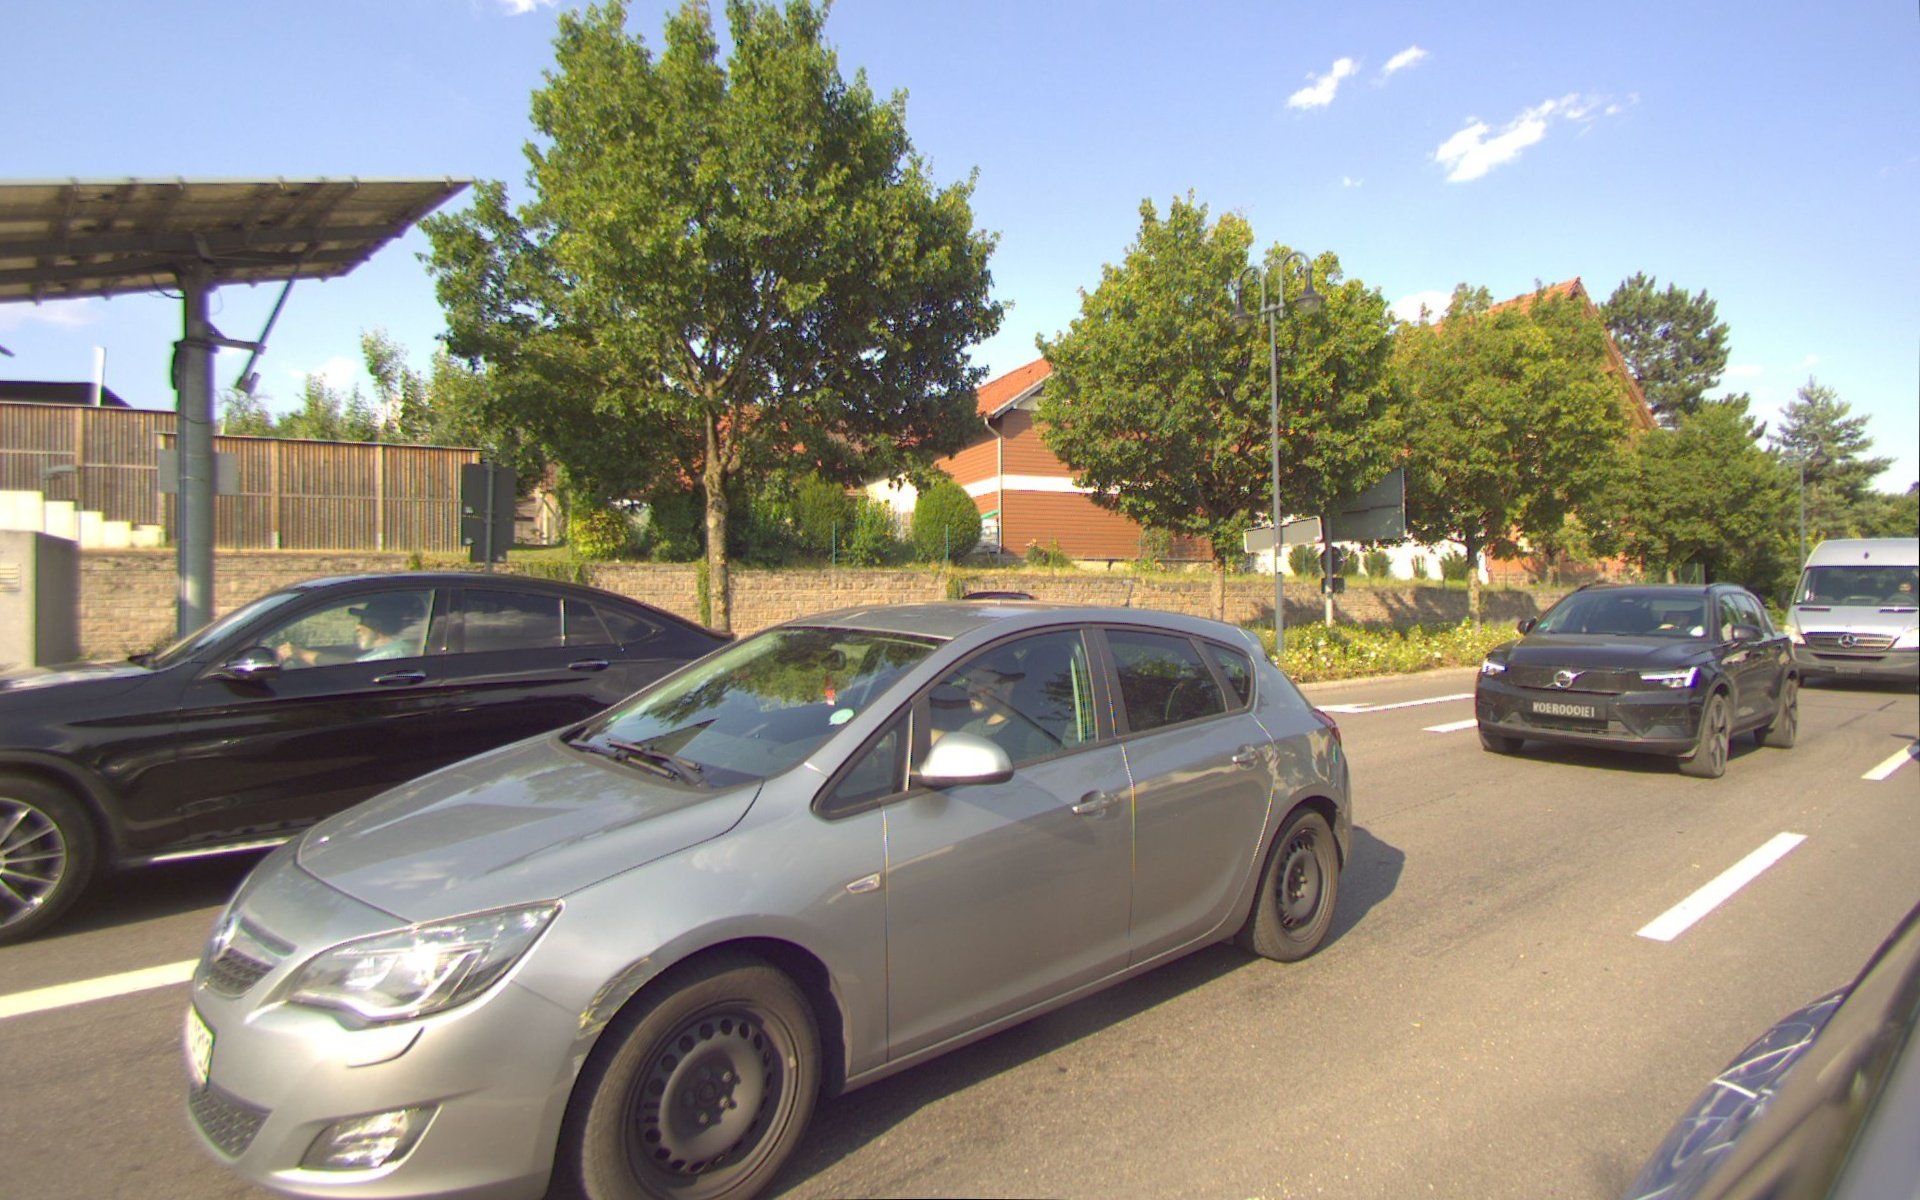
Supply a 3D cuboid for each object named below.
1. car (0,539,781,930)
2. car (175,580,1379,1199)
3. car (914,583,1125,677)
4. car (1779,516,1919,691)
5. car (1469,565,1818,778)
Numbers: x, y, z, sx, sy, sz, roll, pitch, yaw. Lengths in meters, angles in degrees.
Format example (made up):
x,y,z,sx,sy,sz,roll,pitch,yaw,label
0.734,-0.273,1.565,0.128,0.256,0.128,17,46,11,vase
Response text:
x,y,z,sx,sy,sz,roll,pitch,yaw,label
-3.409,0.544,5.732,4.416,1.586,1.843,0,0,-40,car
-0.228,0.678,3.692,4.072,1.440,1.650,0,1,-42,car
0.919,0.458,17.792,1.714,1.449,4.002,0,0,-32,car
16.839,0.029,18.278,6.532,2.691,2.038,0,0,-41,car
6.666,0.531,9.719,3.985,1.626,1.791,0,0,-40,car
